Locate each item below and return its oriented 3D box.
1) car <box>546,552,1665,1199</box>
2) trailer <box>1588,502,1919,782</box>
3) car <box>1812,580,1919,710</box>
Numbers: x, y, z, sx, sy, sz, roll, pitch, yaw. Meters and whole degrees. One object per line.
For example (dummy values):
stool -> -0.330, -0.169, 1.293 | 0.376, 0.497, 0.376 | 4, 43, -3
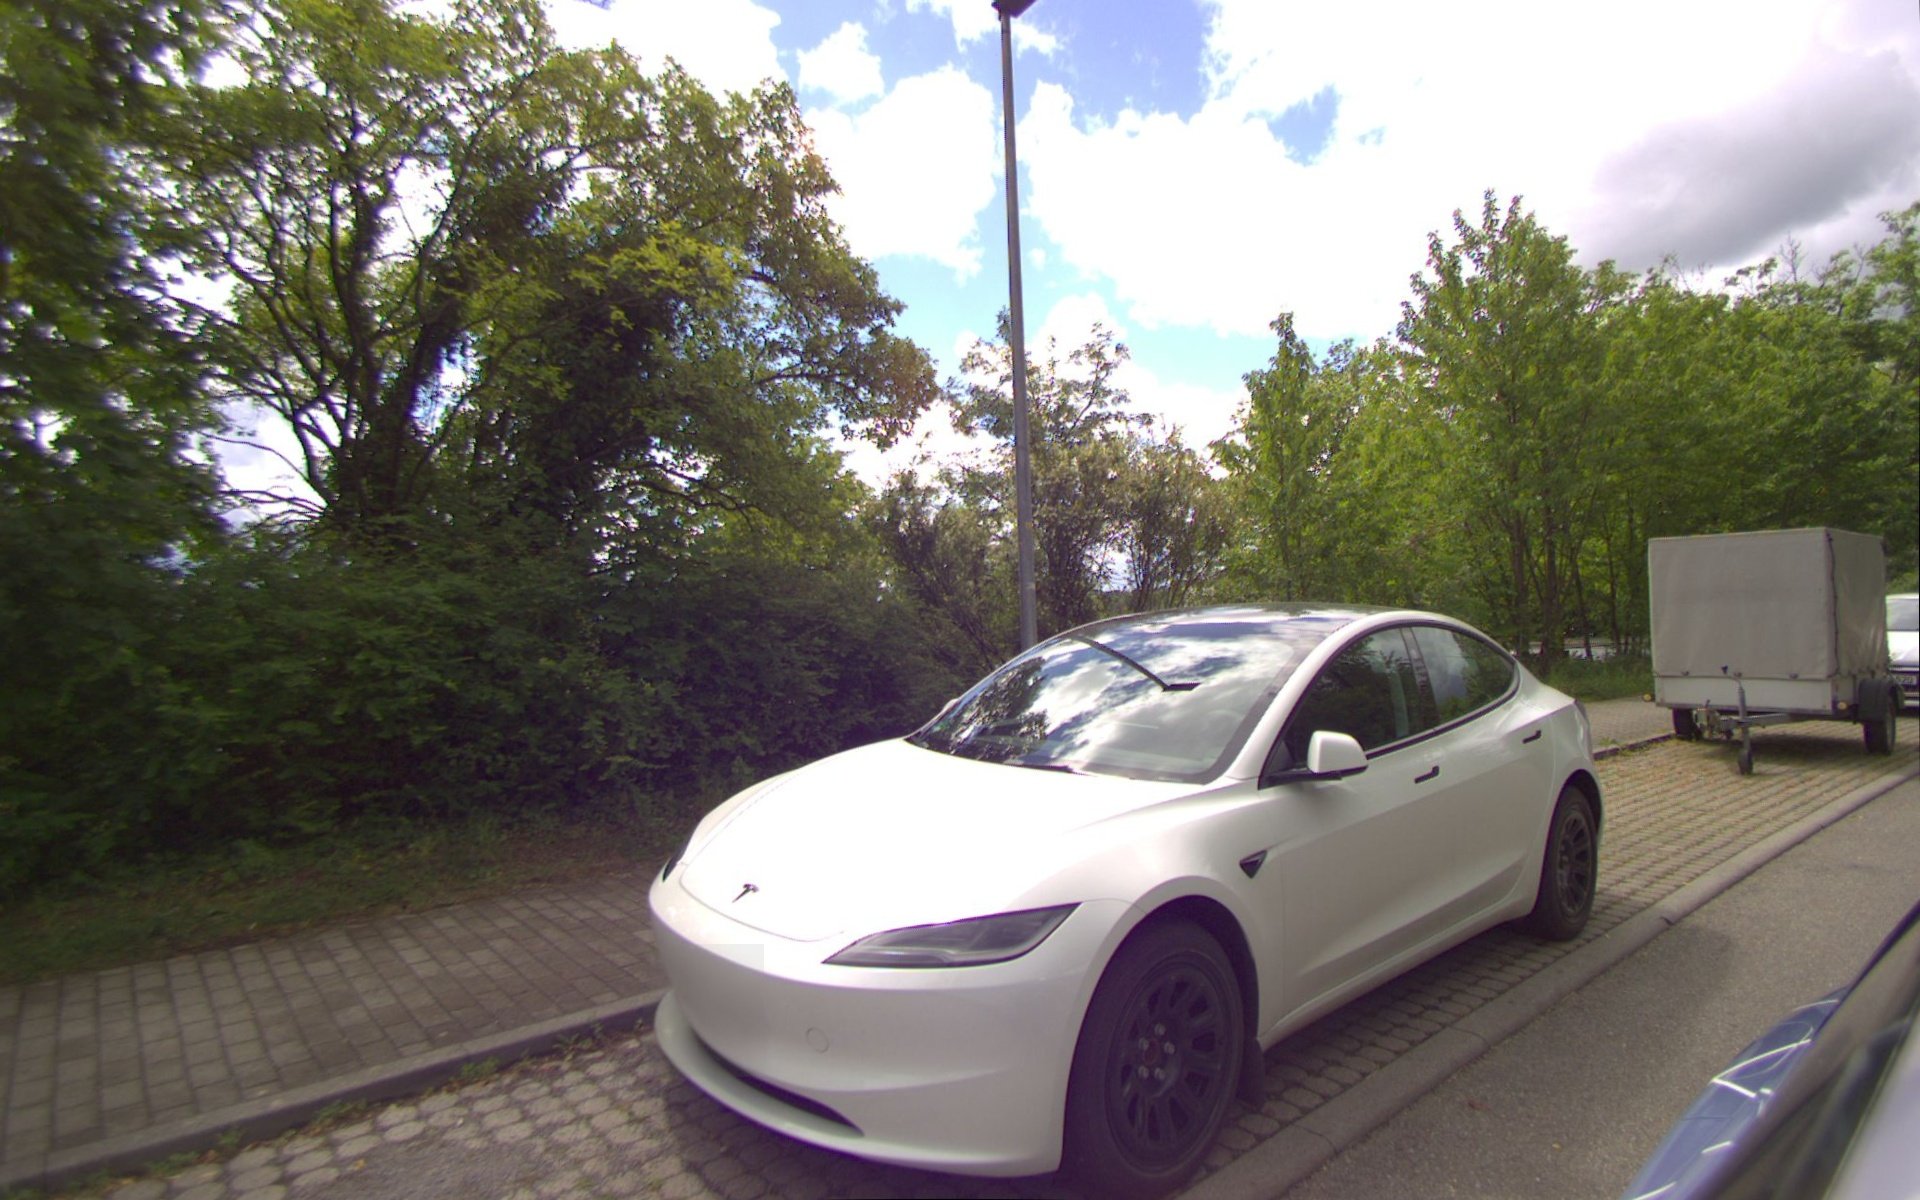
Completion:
car -> 1.083, 0.672, 4.138 | 4.817, 1.496, 1.865 | 0, -1, -41
trailer -> 7.585, 0.282, 9.442 | 3.714, 2.104, 1.734 | -1, 0, -38
car -> 12.675, 0.498, 12.951 | 3.710, 1.496, 1.712 | -1, 0, -33
